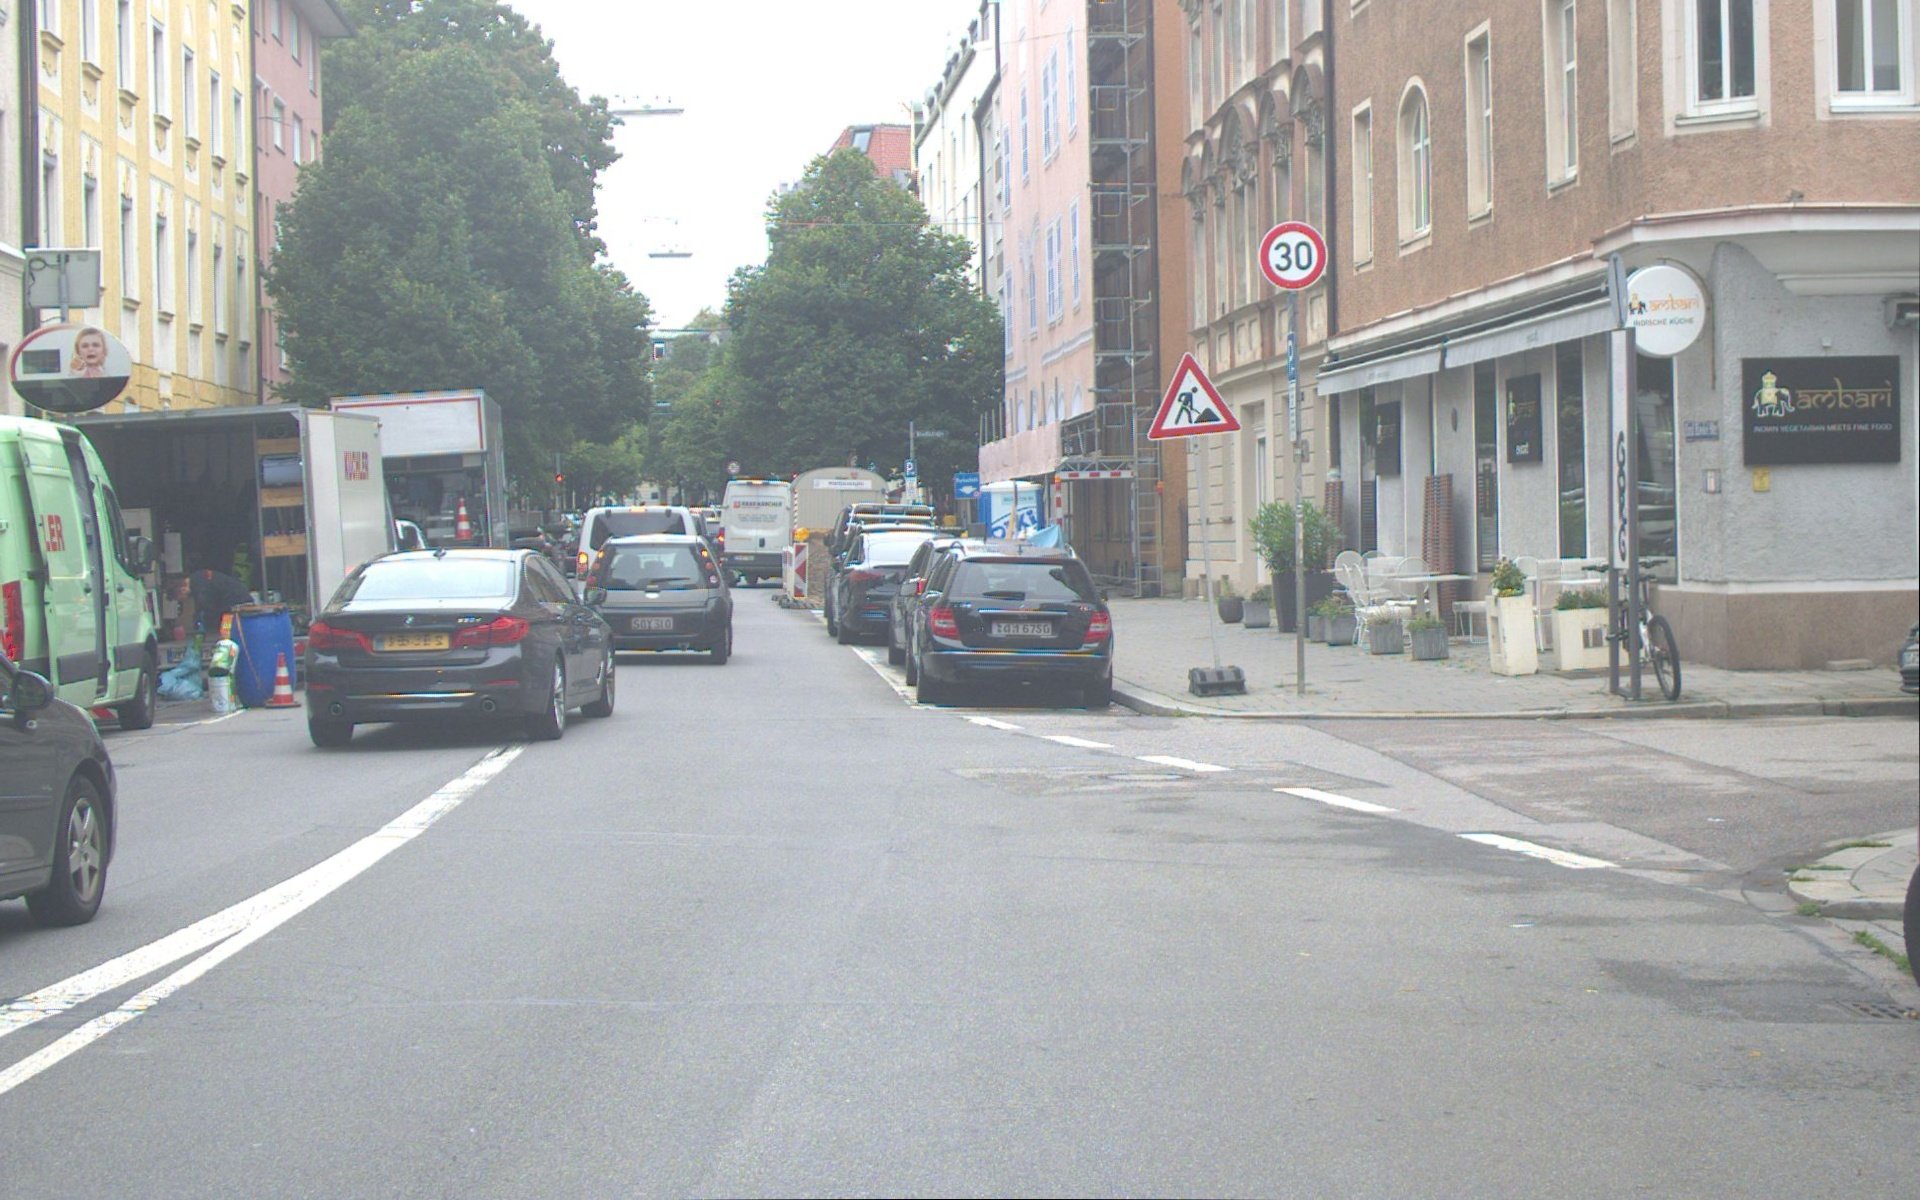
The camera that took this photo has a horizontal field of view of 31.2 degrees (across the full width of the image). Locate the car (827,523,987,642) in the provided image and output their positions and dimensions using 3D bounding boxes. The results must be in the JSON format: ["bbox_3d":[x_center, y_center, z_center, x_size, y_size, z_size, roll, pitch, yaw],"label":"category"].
[{"bbox_3d":[-0.764,-0.271,46.605,1.844,1.424,4.307,2,2,-5],"label":"car"}]

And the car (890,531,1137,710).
[{"bbox_3d":[0.424,0.141,31.904,1.844,1.424,4.184,2,2,-5],"label":"car"}]

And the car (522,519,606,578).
[{"bbox_3d":[-9.990,-1.311,86.929,1.939,1.443,3.867,-1,1,-4],"label":"car"}]

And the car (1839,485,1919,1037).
[{"bbox_3d":[3.842,0.483,8.827,1.818,1.673,4.511,-2,1,-2],"label":"car"}]

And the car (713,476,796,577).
[{"bbox_3d":[-5.177,-1.864,87.198,1.939,2.472,4.783,0,1,-2],"label":"car"}]

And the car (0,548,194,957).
[{"bbox_3d":[-4.322,0.566,12.568,1.759,1.456,4.073,-1,1,6],"label":"car"}]

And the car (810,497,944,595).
[{"bbox_3d":[-1.349,-0.886,54.369,1.990,1.424,4.141,-1,2,-3],"label":"car"}]

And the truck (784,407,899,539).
[{"bbox_3d":[-2.806,-2.921,80.248,2.491,2.963,5.328,-1,1,-4],"label":"truck"}]

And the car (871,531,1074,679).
[{"bbox_3d":[0.074,0.013,37.907,1.844,1.424,4.141,2,2,-5],"label":"car"}]

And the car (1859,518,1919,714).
[{"bbox_3d":[9.024,0.082,25.433,4.169,1.424,1.925,-1,-1,-3],"label":"car"}]

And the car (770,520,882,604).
[{"bbox_3d":[-2.511,-0.739,64.022,1.990,1.424,4.141,-1,2,-3],"label":"car"}]

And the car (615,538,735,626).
[{"bbox_3d":[-5.114,-0.346,62.172,1.990,1.424,4.141,-1,2,-3],"label":"car"}]

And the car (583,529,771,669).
[{"bbox_3d":[-3.198,-0.049,39.570,1.990,1.424,4.141,-1,2,-3],"label":"car"}]

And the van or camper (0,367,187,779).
[{"bbox_3d":[-7.890,-0.275,26.720,2.600,2.830,6.187,-1,2,-3],"label":"van or camper"}]

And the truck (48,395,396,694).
[{"bbox_3d":[-7.773,-0.673,37.103,2.773,2.863,7.203,-1,2,-5],"label":"truck"}]

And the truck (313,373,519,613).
[{"bbox_3d":[-9.408,-1.844,60.146,3.012,3.938,6.997,-1,1,-5],"label":"truck"}]

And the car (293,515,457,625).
[{"bbox_3d":[-8.926,-0.484,52.734,1.990,1.605,4.141,0,1,-3],"label":"car"}]

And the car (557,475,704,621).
[{"bbox_3d":[-4.923,-0.829,51.833,1.990,2.068,4.141,-1,2,-3],"label":"car"}]

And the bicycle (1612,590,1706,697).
[{"bbox_3d":[5.576,0.336,27.457,0.456,0.802,1.326,0,1,-1],"label":"bicycle"}]

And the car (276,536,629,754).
[{"bbox_3d":[-3.851,0.275,26.942,1.990,1.424,4.906,-1,2,0],"label":"car"}]
